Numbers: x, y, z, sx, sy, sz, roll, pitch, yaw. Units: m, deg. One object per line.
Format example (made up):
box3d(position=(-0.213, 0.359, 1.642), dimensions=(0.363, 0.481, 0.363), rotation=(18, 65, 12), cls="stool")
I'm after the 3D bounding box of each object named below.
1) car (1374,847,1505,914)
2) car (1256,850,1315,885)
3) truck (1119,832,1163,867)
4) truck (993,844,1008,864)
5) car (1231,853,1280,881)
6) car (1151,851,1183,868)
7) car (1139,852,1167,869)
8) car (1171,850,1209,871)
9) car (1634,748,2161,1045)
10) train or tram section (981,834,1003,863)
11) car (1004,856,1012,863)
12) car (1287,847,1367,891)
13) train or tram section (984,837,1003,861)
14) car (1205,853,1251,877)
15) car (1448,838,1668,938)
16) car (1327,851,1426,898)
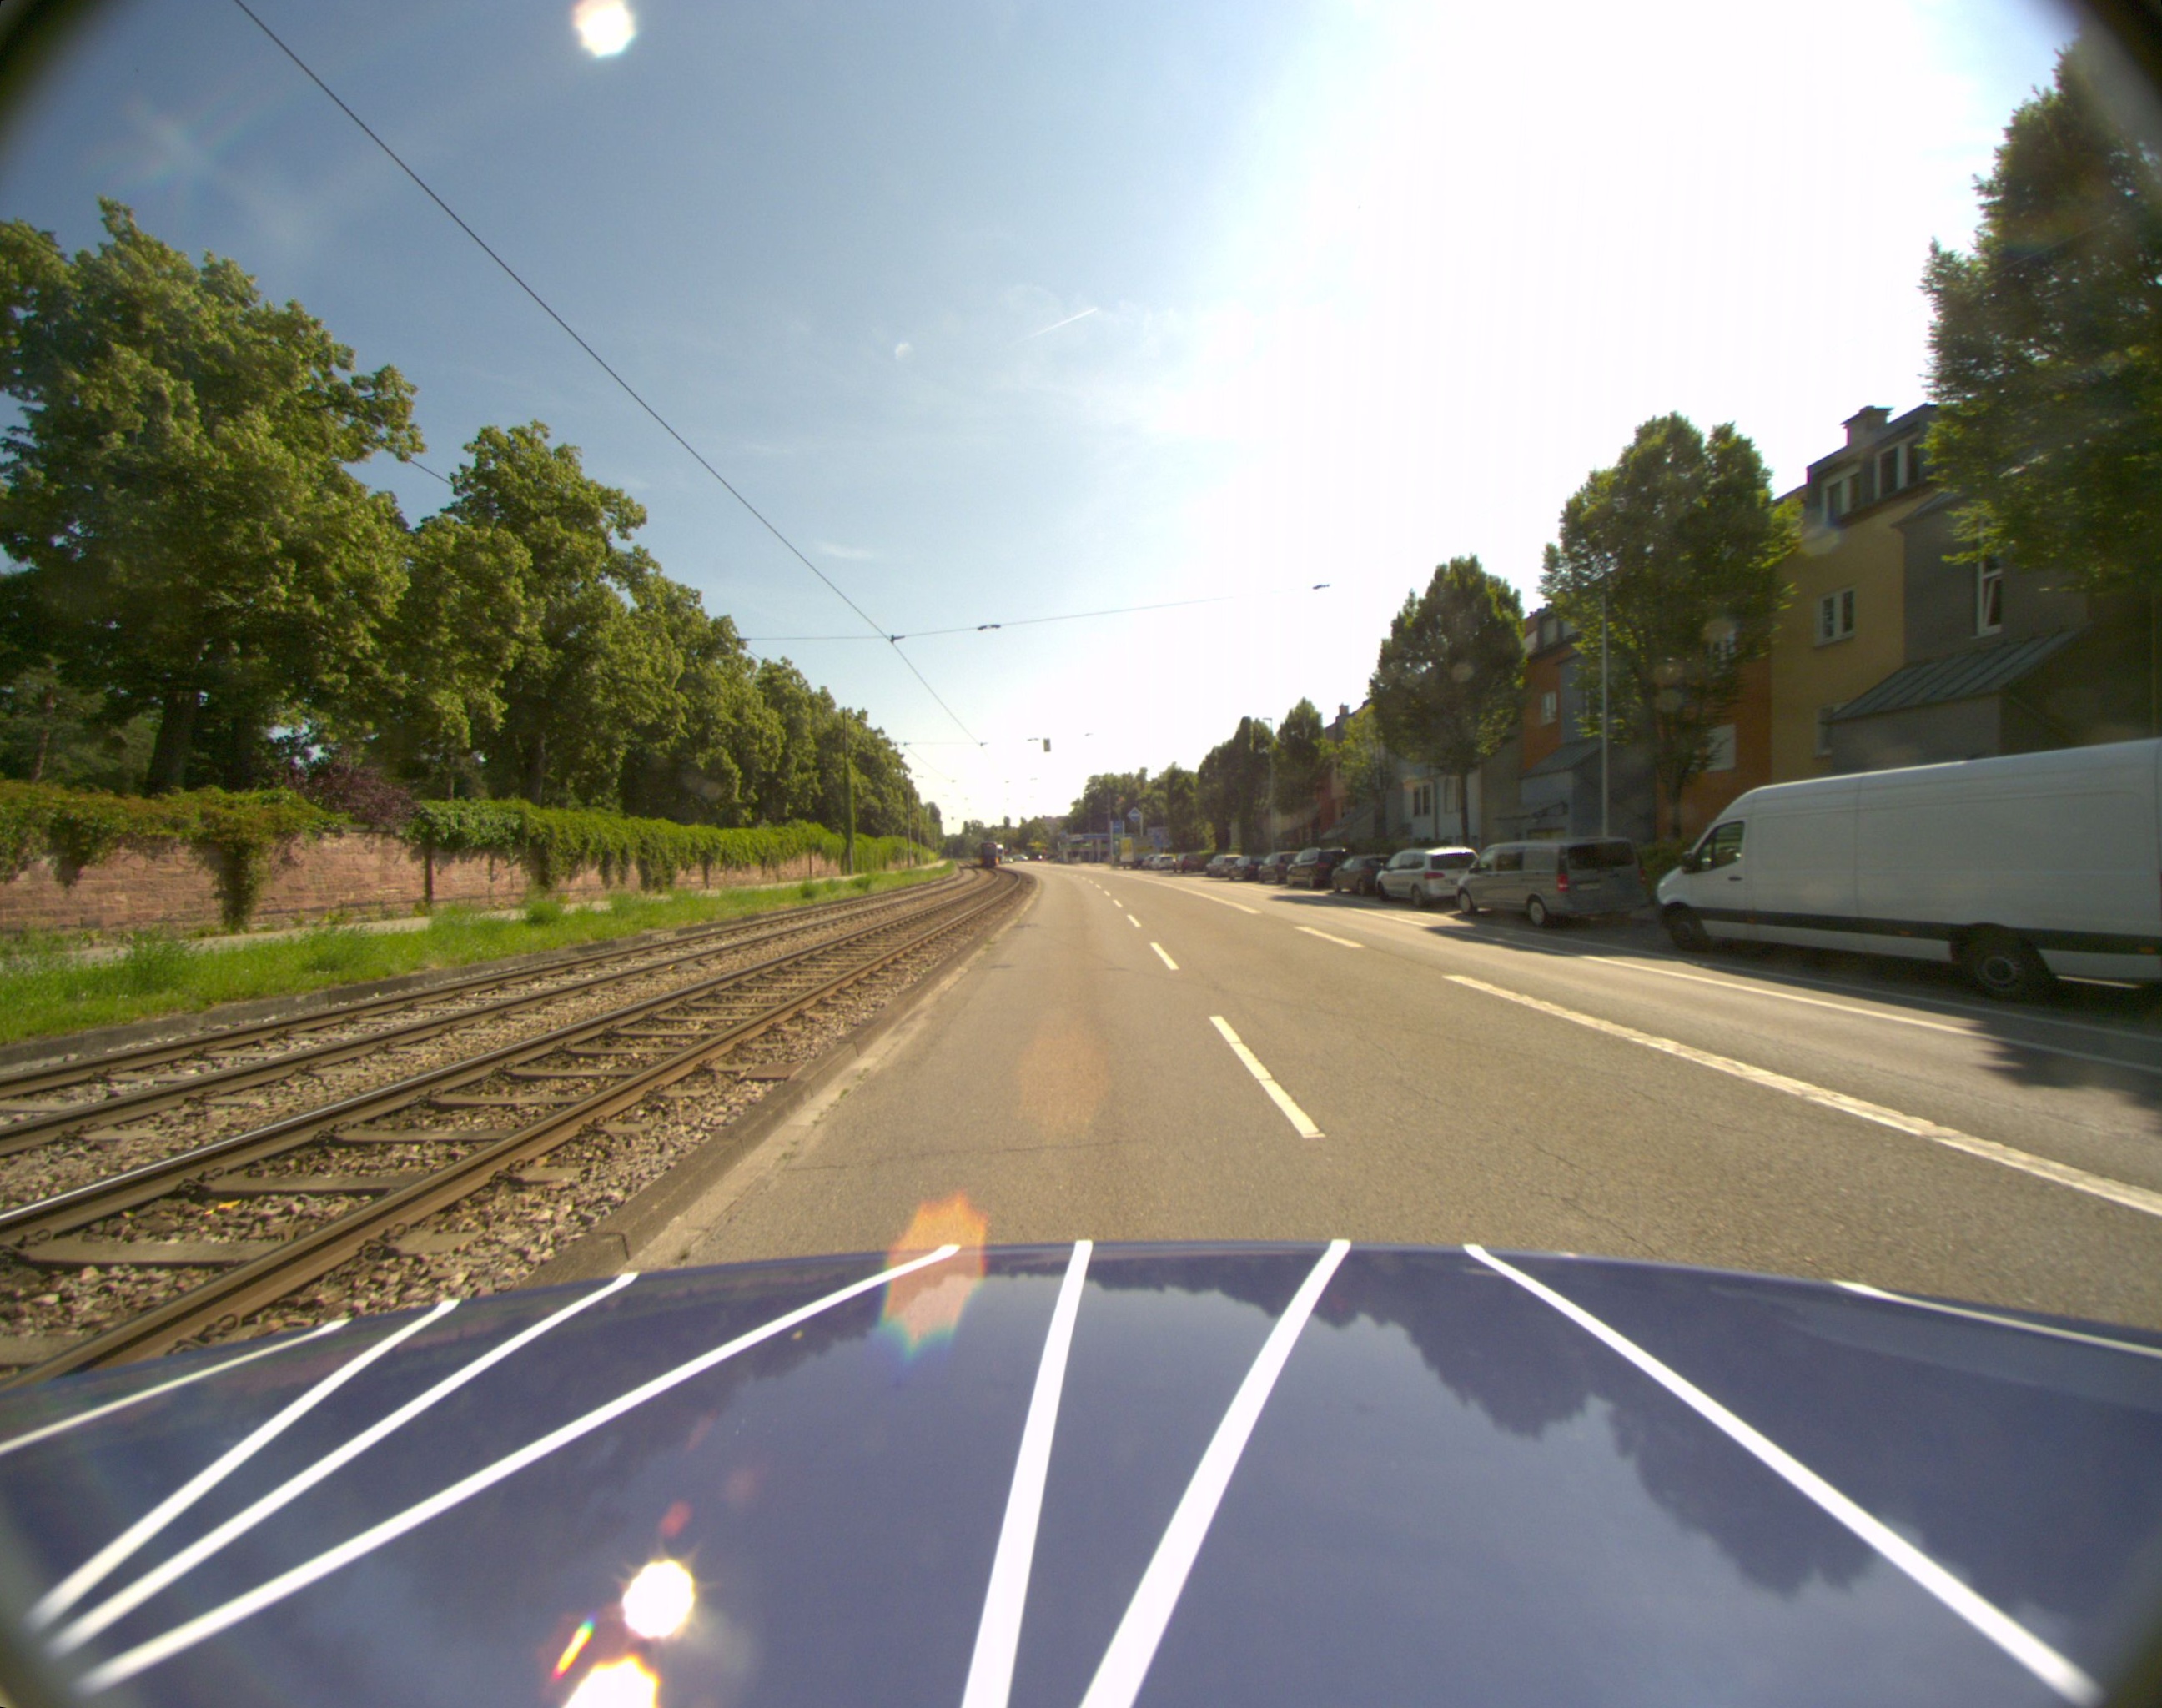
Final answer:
box3d(position=(10.769, 0.705, 23.223), dimensions=(1.853, 1.693, 4.540), rotation=(-4, 1, 1), cls="car")
box3d(position=(10.446, 0.656, 39.075), dimensions=(1.681, 1.598, 4.164), rotation=(-2, 1, -3), cls="car")
box3d(position=(6.475, -0.480, 83.149), dimensions=(3.165, 3.534, 8.779), rotation=(-1, 0, -6), cls="truck")
box3d(position=(-16.673, -0.006, 158.365), dimensions=(2.806, 3.926, 11.937), rotation=(-1, 0, -5), cls="truck")
box3d(position=(10.221, 0.726, 44.778), dimensions=(1.681, 1.462, 4.212), rotation=(-2, 1, -3), cls="car")
box3d(position=(7.971, 0.507, 70.810), dimensions=(2.040, 1.490, 4.130), rotation=(-2, 1, -6), cls="car")
box3d(position=(7.111, 0.622, 75.653), dimensions=(1.915, 1.469, 4.213), rotation=(-2, 1, -6), cls="car")
box3d(position=(8.986, 0.524, 62.892), dimensions=(1.911, 1.567, 4.928), rotation=(-2, 1, -6), cls="car")
box3d(position=(10.730, 0.303, 9.819), dimensions=(1.998, 2.662, 7.086), rotation=(-4, 0, 1), cls="car")
box3d(position=(-12.583, -0.702, 108.483), dimensions=(2.722, 3.716, 18.867), rotation=(-2, 0, -6), cls="train or tram section")
box3d(position=(-16.440, 1.248, 171.907), dimensions=(1.748, 1.421, 5.039), rotation=(-2, 0, -5), cls="car")
box3d(position=(10.723, 0.593, 33.427), dimensions=(1.834, 1.718, 4.348), rotation=(-3, 1, -3), cls="car")
box3d(position=(-14.513, -0.822, 127.294), dimensions=(2.722, 3.716, 18.867), rotation=(-2, 0, -6), cls="train or tram section")
box3d(position=(9.940, 0.687, 51.607), dimensions=(1.682, 1.437, 4.835), rotation=(-2, 1, -6), cls="car")
box3d(position=(10.902, 0.677, 17.931), dimensions=(1.998, 1.855, 4.966), rotation=(-5, 0, 1), cls="car")
box3d(position=(10.919, 0.710, 28.423), dimensions=(1.871, 1.447, 4.074), rotation=(-4, 1, -3), cls="car")
